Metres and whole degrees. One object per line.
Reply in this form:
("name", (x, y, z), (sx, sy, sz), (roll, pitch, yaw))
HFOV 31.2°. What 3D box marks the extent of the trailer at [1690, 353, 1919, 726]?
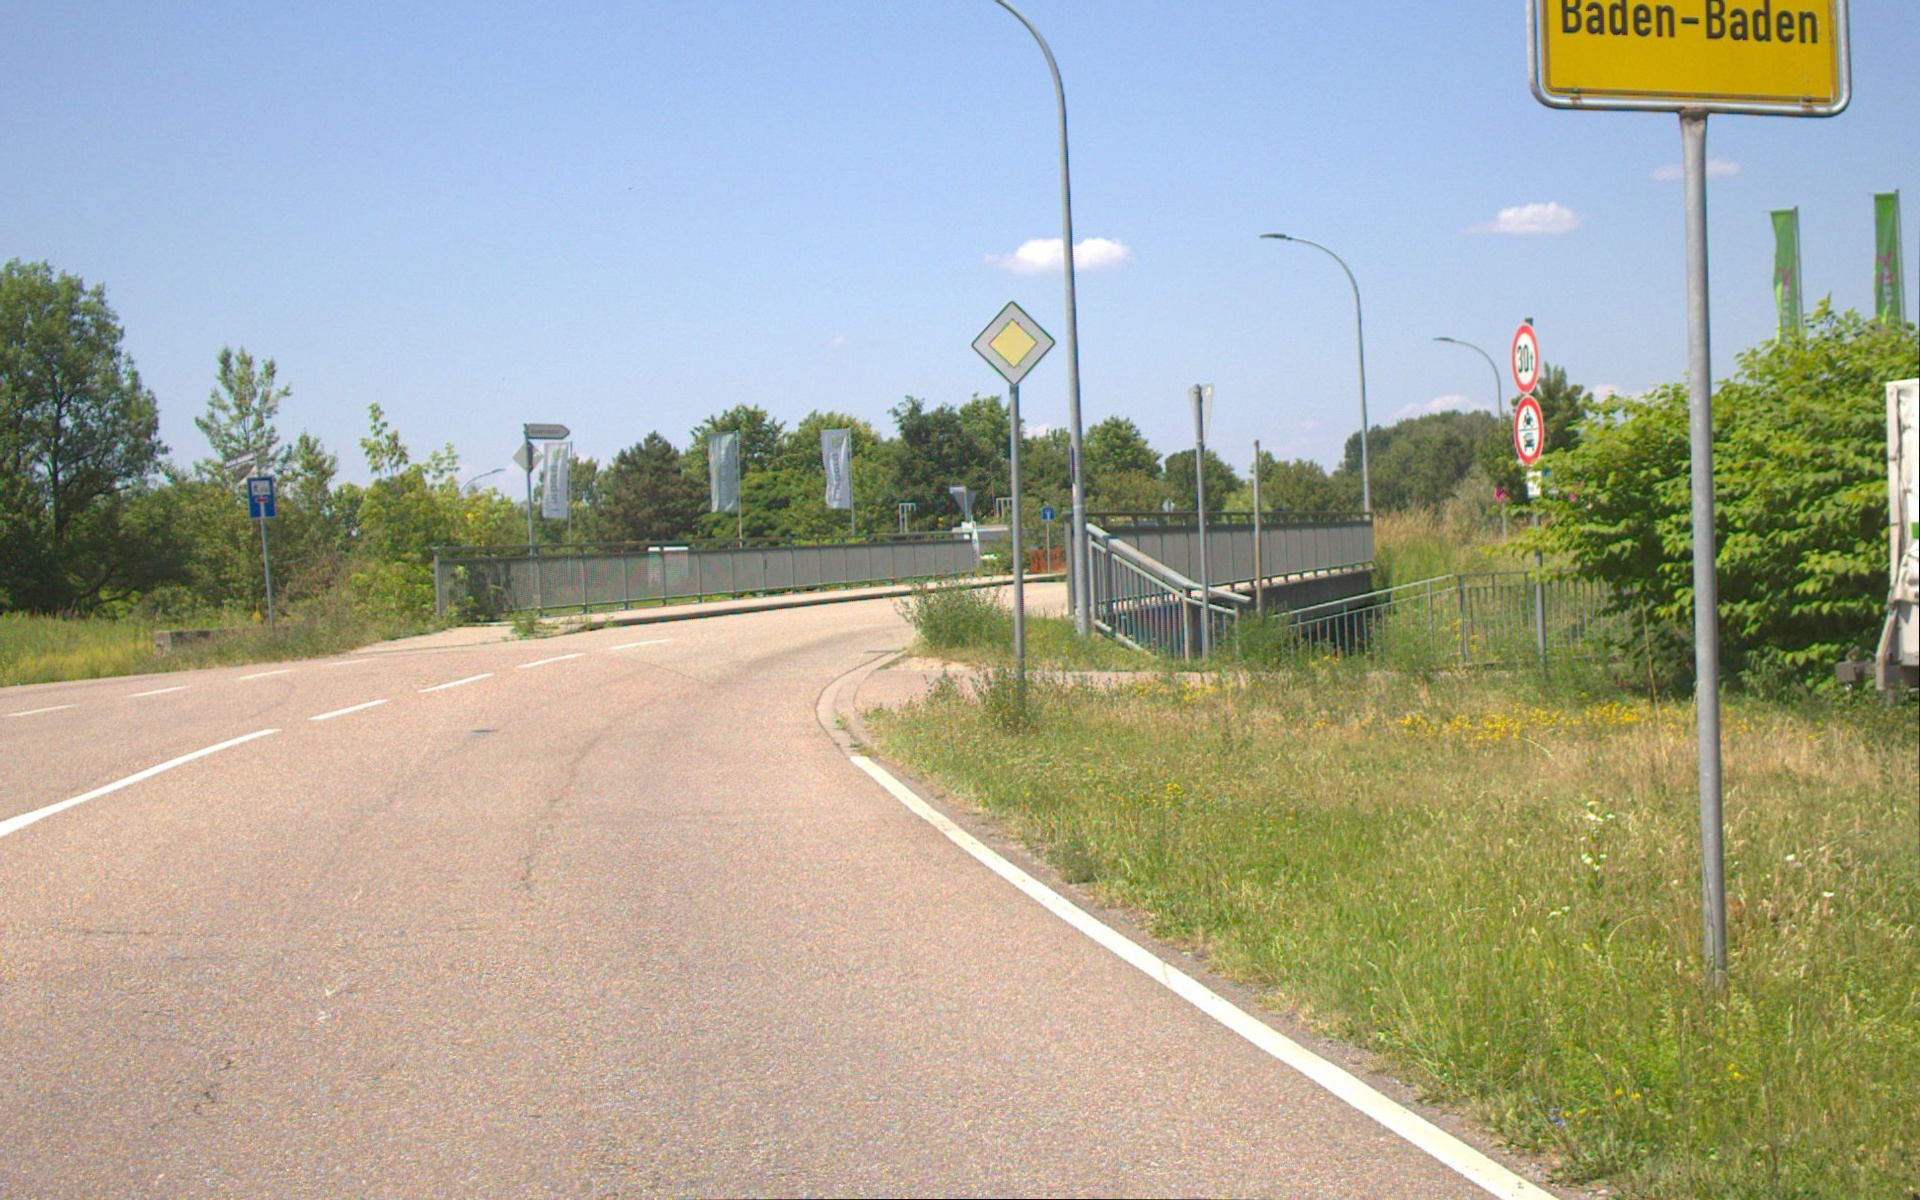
("trailer", (6.185, -0.366, 19.474), (1.845, 2.071, 3.970), (-2, 1, -28))
